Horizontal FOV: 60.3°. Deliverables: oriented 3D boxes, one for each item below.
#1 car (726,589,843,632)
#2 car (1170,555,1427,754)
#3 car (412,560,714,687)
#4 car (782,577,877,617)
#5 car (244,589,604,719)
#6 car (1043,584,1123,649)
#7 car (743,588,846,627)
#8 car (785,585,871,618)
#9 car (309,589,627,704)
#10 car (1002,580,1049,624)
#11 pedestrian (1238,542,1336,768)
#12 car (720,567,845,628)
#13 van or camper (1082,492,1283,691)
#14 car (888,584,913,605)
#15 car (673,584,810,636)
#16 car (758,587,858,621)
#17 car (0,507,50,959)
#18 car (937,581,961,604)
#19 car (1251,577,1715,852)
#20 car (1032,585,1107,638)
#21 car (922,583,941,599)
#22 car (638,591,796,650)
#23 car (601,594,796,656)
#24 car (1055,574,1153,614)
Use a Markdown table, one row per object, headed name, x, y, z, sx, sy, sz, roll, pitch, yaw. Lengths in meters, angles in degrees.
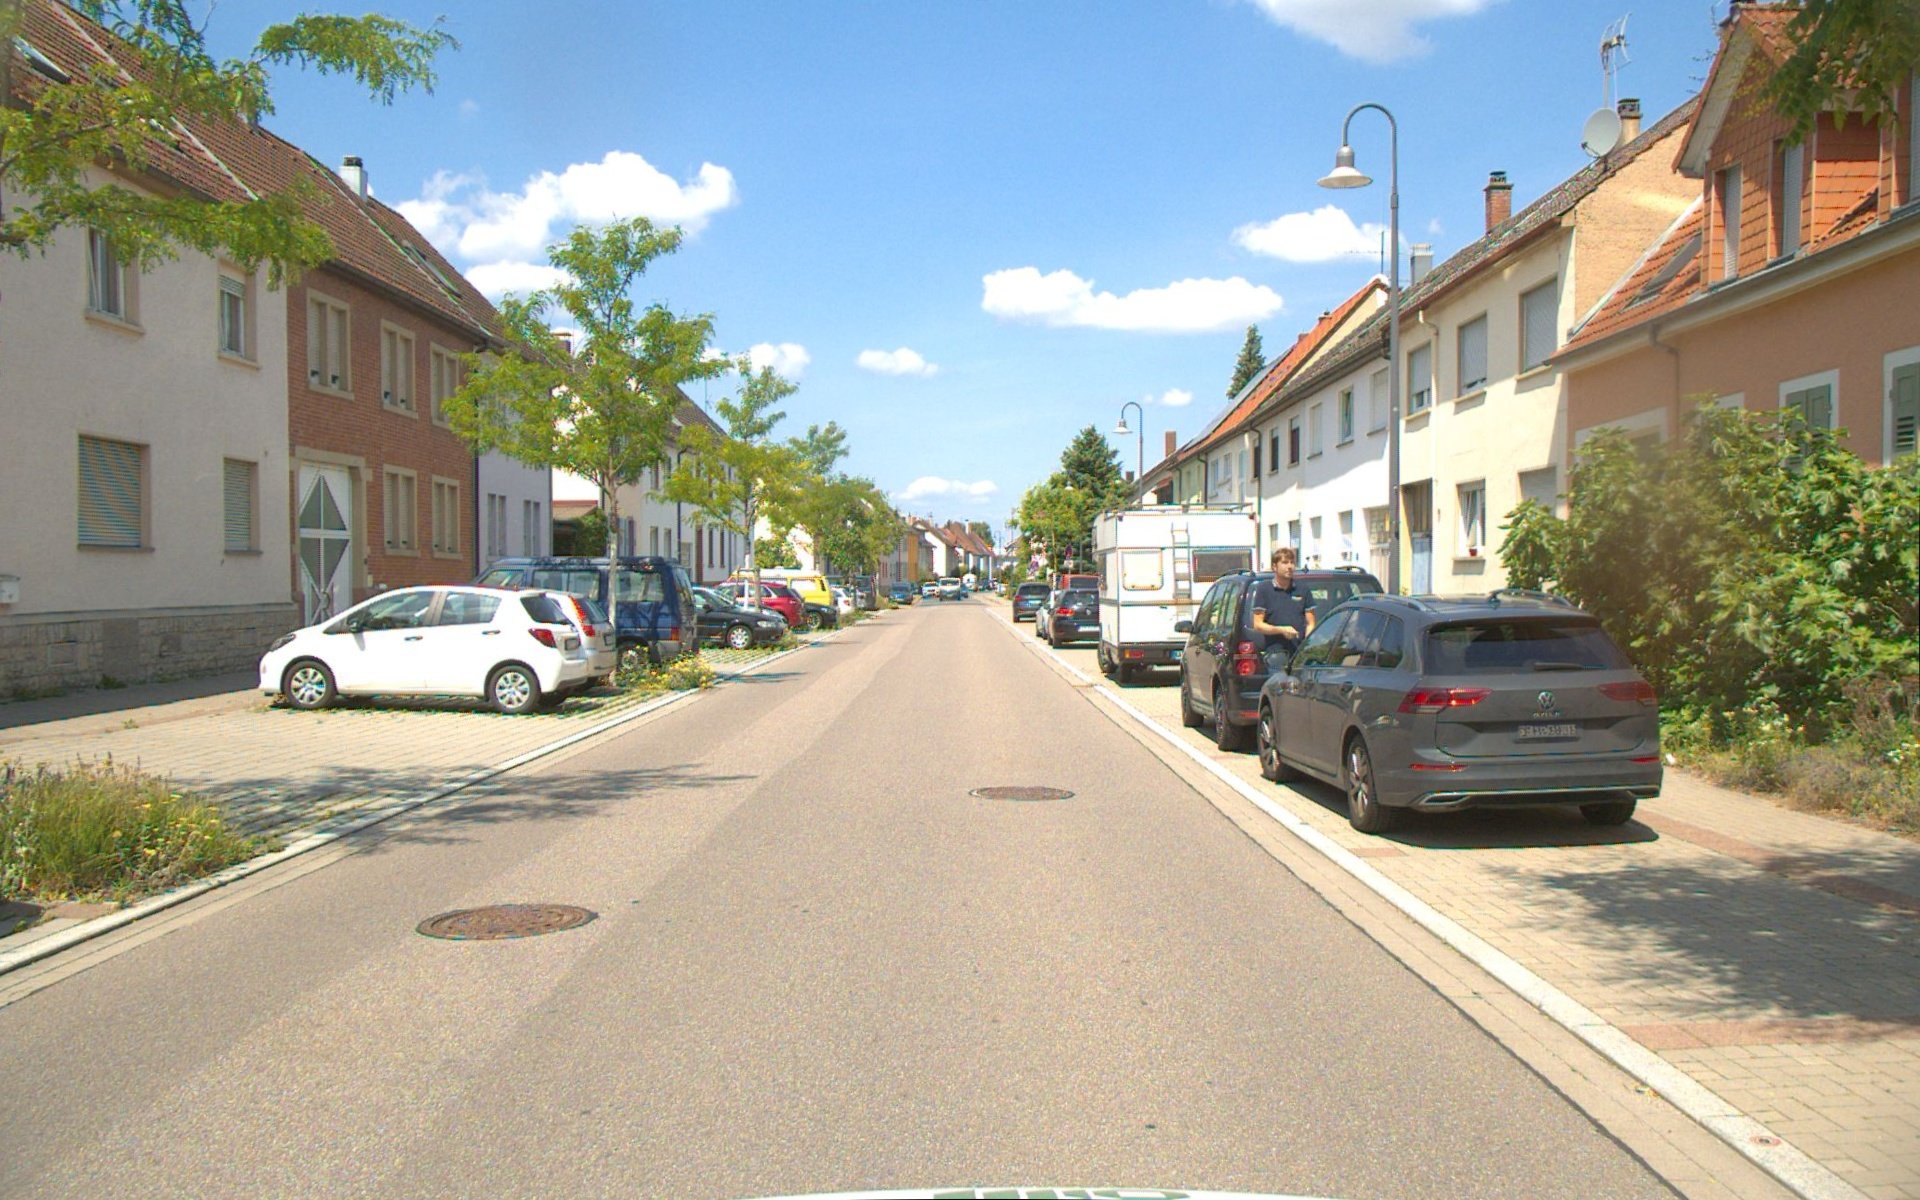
| name | x | y | z | sx | sy | sz | roll | pitch | yaw |
| --- | --- | --- | --- | --- | --- | --- | --- | --- | --- |
| car | -6.179 | 0.361 | 58.498 | 3.928 | 1.485 | 1.755 | 0 | 0 | 0 |
| car | 3.281 | 0.467 | 16.849 | 1.730 | 1.734 | 4.325 | -1 | 0 | 0 |
| car | -6.522 | 0.367 | 27.518 | 4.517 | 2.031 | 1.953 | 0 | 0 | 1 |
| car | -6.548 | -0.161 | 83.320 | 4.604 | 1.957 | 1.937 | 0 | 0 | -1 |
| car | -6.515 | 0.633 | 20.394 | 3.835 | 1.514 | 1.773 | 0 | 0 | 1 |
| car | 3.099 | 0.382 | 42.362 | 1.730 | 1.556 | 4.007 | -1 | 0 | 0 |
| car | -6.573 | 0.286 | 65.543 | 3.996 | 1.493 | 1.750 | 0 | 0 | -9 |
| car | -6.412 | 0.065 | 80.438 | 4.100 | 1.596 | 1.772 | 0 | 0 | -4 |
| car | -6.713 | 0.613 | 22.852 | 3.835 | 1.514 | 1.773 | 0 | 0 | 1 |
| car | 2.766 | 0.062 | 69.616 | 1.825 | 1.663 | 4.448 | -3 | 1 | 2 |
| pedestrian | 2.798 | 0.462 | 14.194 | 0.702 | 1.885 | 0.578 | -1 | 0 | 0 |
| car | -6.514 | -0.103 | 61.029 | 4.416 | 2.215 | 1.925 | 0 | 0 | 0 |
| van or camper | 3.519 | -0.174 | 27.448 | 2.423 | 2.859 | 5.790 | -2 | 1 | 0 |
| car | -4.624 | -0.452 | 128.260 | 1.780 | 1.458 | 4.138 | 2 | 2 | -3 |
| car | -6.983 | 0.309 | 53.099 | 4.166 | 1.639 | 1.842 | 0 | 0 | -1 |
| car | -6.744 | 0.172 | 73.557 | 4.206 | 1.493 | 1.774 | 0 | 0 | 1 |
| car | -6.409 | 0.558 | 6.456 | 4.581 | 1.940 | 2.000 | 0 | 0 | 0 |
| car | -0.969 | -0.635 | 145.770 | 1.981 | 1.984 | 4.897 | -2 | 0 | -1 |
| car | 3.321 | 0.624 | 11.447 | 1.731 | 1.514 | 4.295 | -1 | 0 | -2 |
| car | 3.234 | 0.318 | 49.639 | 1.795 | 1.491 | 4.518 | -1 | 0 | -2 |
| car | -3.062 | -0.992 | 177.180 | 1.811 | 1.688 | 4.001 | 1 | 0 | 3 |
| car | -6.412 | 0.525 | 43.939 | 3.972 | 1.503 | 1.775 | 0 | 0 | -3 |
| car | -6.258 | 0.585 | 39.954 | 4.431 | 1.450 | 1.795 | 0 | 0 | -1 |
| car | 6.870 | -0.273 | 79.386 | 4.525 | 1.927 | 2.020 | 0 | 0 | -2 |
